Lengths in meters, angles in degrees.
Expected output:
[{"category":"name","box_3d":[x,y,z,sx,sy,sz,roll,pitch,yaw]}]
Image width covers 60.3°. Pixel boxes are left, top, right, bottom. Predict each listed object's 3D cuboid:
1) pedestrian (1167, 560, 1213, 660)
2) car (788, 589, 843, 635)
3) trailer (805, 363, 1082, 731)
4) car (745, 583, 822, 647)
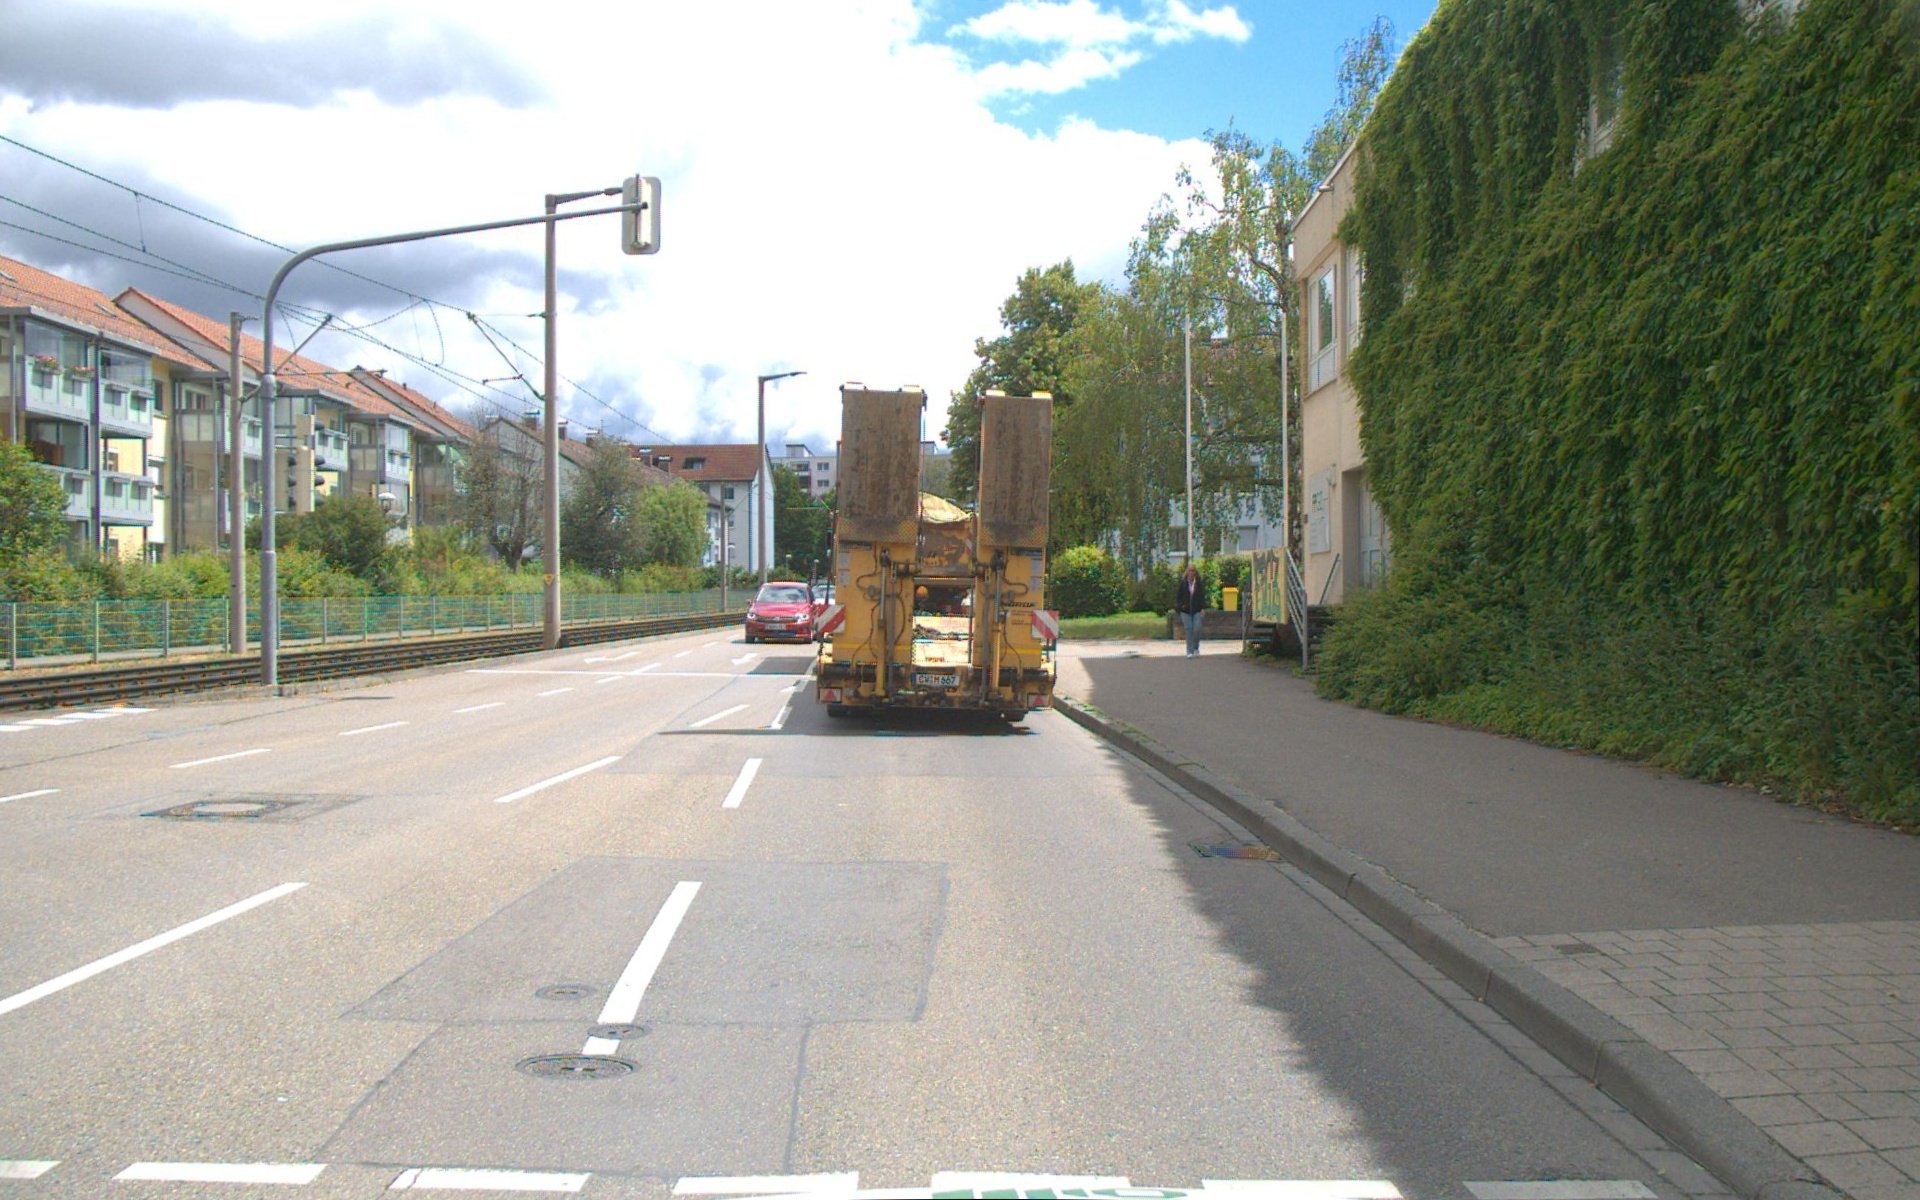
[{"category":"pedestrian","box_3d":[4.233,0.179,30.468,0.792,1.802,0.817,1,0,6]},{"category":"car","box_3d":[-5.128,0.413,59.138,1.725,1.579,3.999,1,0,-2]},{"category":"trailer","box_3d":[-0.602,-0.550,23.119,2.771,3.709,12.343,1,0,-4]},{"category":"car","box_3d":[-4.638,0.378,43.838,1.629,1.579,3.999,1,0,-1]}]
